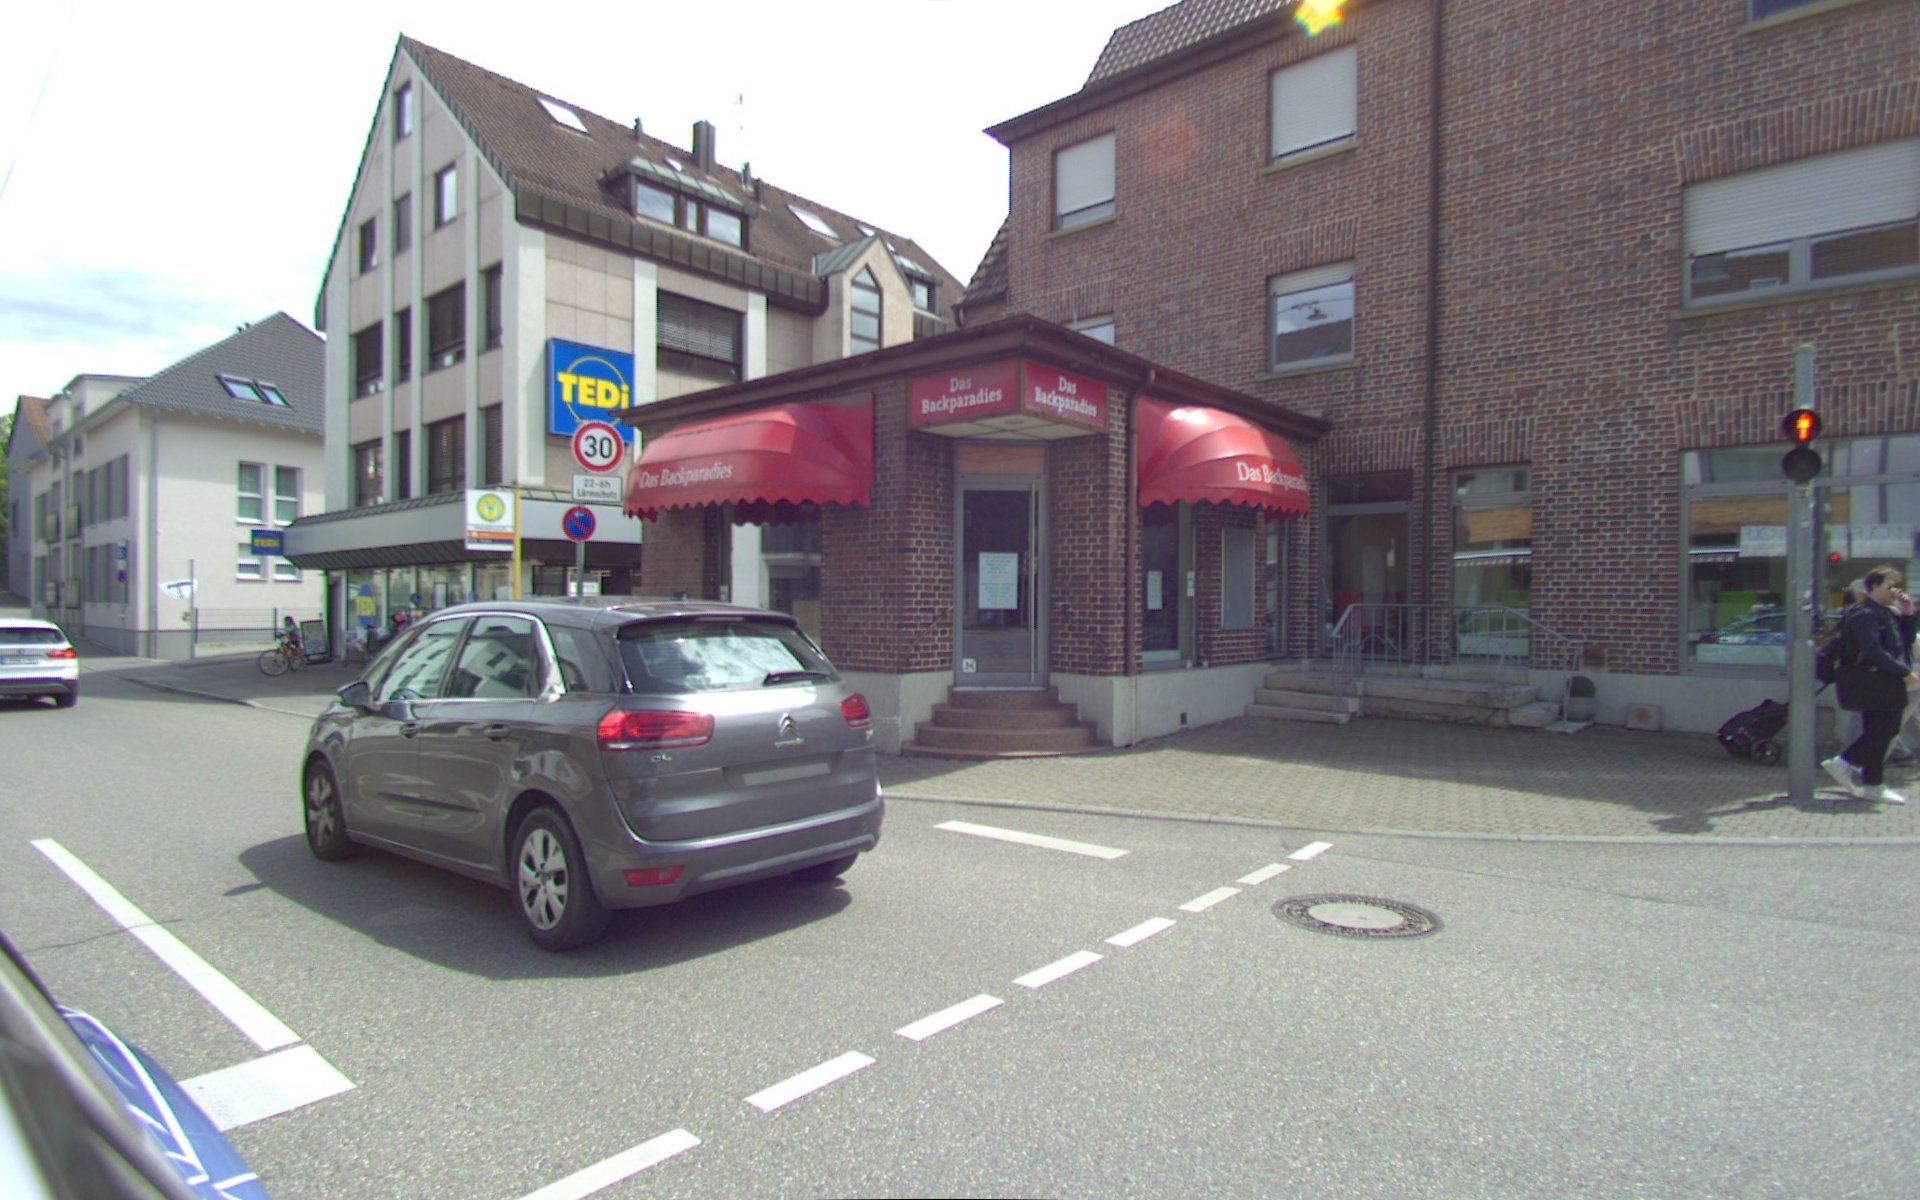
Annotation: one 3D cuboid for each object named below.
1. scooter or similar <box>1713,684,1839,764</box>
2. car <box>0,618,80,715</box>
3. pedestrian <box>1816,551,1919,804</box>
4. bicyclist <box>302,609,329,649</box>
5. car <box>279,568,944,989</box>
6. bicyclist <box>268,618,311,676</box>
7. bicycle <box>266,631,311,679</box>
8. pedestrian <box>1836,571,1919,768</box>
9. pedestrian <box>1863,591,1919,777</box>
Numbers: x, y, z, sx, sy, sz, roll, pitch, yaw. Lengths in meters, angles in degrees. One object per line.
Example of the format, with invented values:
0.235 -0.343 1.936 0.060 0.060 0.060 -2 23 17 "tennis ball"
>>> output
7.427 1.118 9.237 0.803 0.651 0.377 1 -2 19 "scooter or similar"
-17.818 1.150 18.518 4.214 1.652 1.763 -1 -2 38 "car"
6.910 0.549 7.574 0.720 1.810 0.619 1 1 39 "pedestrian"
-20.695 0.920 32.514 0.631 1.251 0.428 0 1 -16 "bicyclist"
-2.217 0.743 5.864 4.096 1.602 1.771 -2 -2 39 "car"
-16.578 1.152 25.011 0.761 1.347 0.660 1 3 41 "bicyclist"
-16.523 1.338 24.888 1.733 1.058 0.439 1 4 41 "bicycle"
8.208 0.584 8.865 0.760 1.671 0.519 1 1 39 "pedestrian"
7.987 0.680 8.344 0.760 1.496 0.519 1 1 39 "pedestrian"
